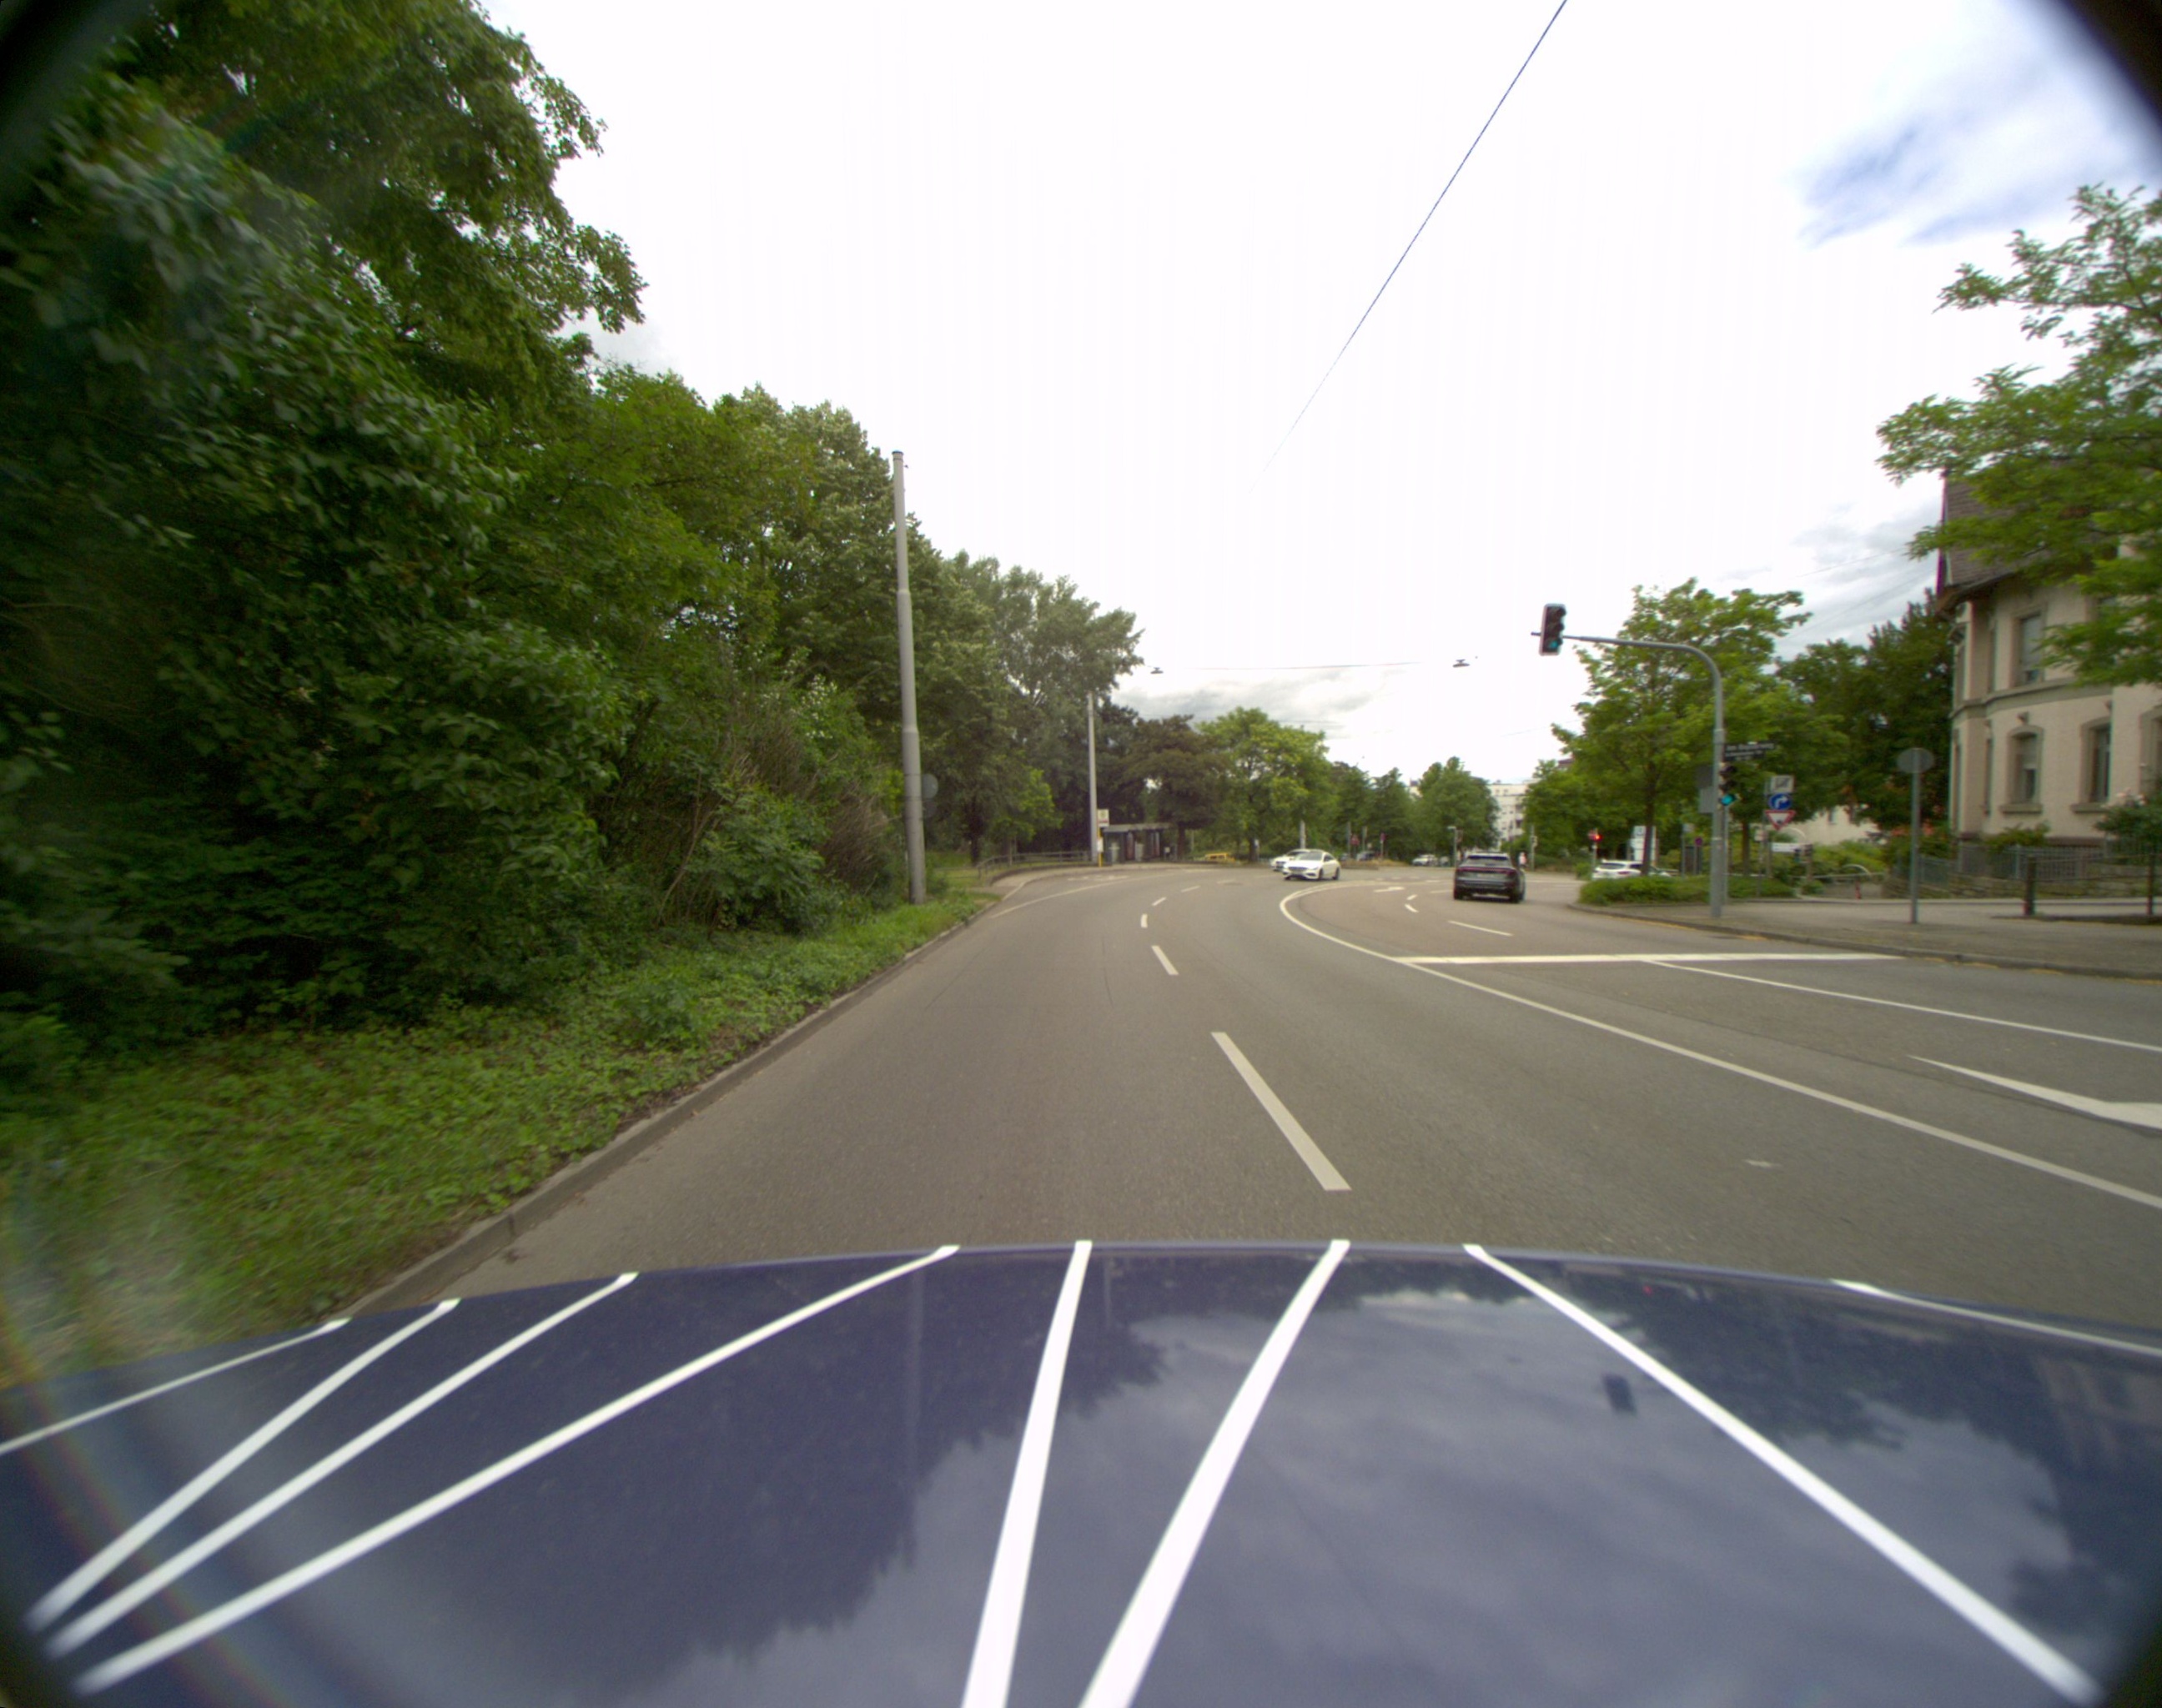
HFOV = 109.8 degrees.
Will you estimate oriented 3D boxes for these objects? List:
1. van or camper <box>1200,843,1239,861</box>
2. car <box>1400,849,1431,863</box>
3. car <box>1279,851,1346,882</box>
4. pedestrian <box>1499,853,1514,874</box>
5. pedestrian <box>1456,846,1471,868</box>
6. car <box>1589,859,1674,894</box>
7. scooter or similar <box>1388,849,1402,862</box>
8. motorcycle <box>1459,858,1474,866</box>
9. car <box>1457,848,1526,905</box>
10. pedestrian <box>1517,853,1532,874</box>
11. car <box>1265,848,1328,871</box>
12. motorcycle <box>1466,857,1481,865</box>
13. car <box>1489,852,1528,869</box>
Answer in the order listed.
[{"bbox_3d":[16.935,-0.284,93.042,1.893,1.967,4.457,-2,3,-44],"label":"van or camper"},{"bbox_3d":[46.591,0.260,105.891,4.724,1.893,1.994,1,1,-39],"label":"car"},{"bbox_3d":[11.647,0.575,38.092,1.994,1.390,4.238,2,2,34],"label":"car"},{"bbox_3d":[35.084,0.772,62.627,0.727,1.703,0.616,2,5,-7],"label":"pedestrian"},{"bbox_3d":[33.901,0.273,67.372,0.856,1.875,0.965,1,1,7],"label":"pedestrian"},{"bbox_3d":[27.831,1.109,38.376,4.383,1.644,1.897,1,1,-31],"label":"car"},{"bbox_3d":[32.757,0.159,79.297,1.318,1.241,0.464,1,1,11],"label":"scooter or similar"},{"bbox_3d":[50.663,1.040,99.937,2.059,1.027,0.753,1,1,-31],"label":"motorcycle"},{"bbox_3d":[14.363,0.735,26.797,1.897,1.781,4.767,2,1,26],"label":"car"},{"bbox_3d":[36.785,0.764,62.979,0.727,1.703,0.616,2,5,-7],"label":"pedestrian"},{"bbox_3d":[13.821,0.344,48.644,4.008,1.455,1.892,0,0,-38],"label":"car"},{"bbox_3d":[51.132,0.908,98.981,2.059,1.027,0.753,1,1,-31],"label":"motorcycle"},{"bbox_3d":[54.845,0.828,97.582,2.004,2.002,3.776,1,1,-36],"label":"car"}]
